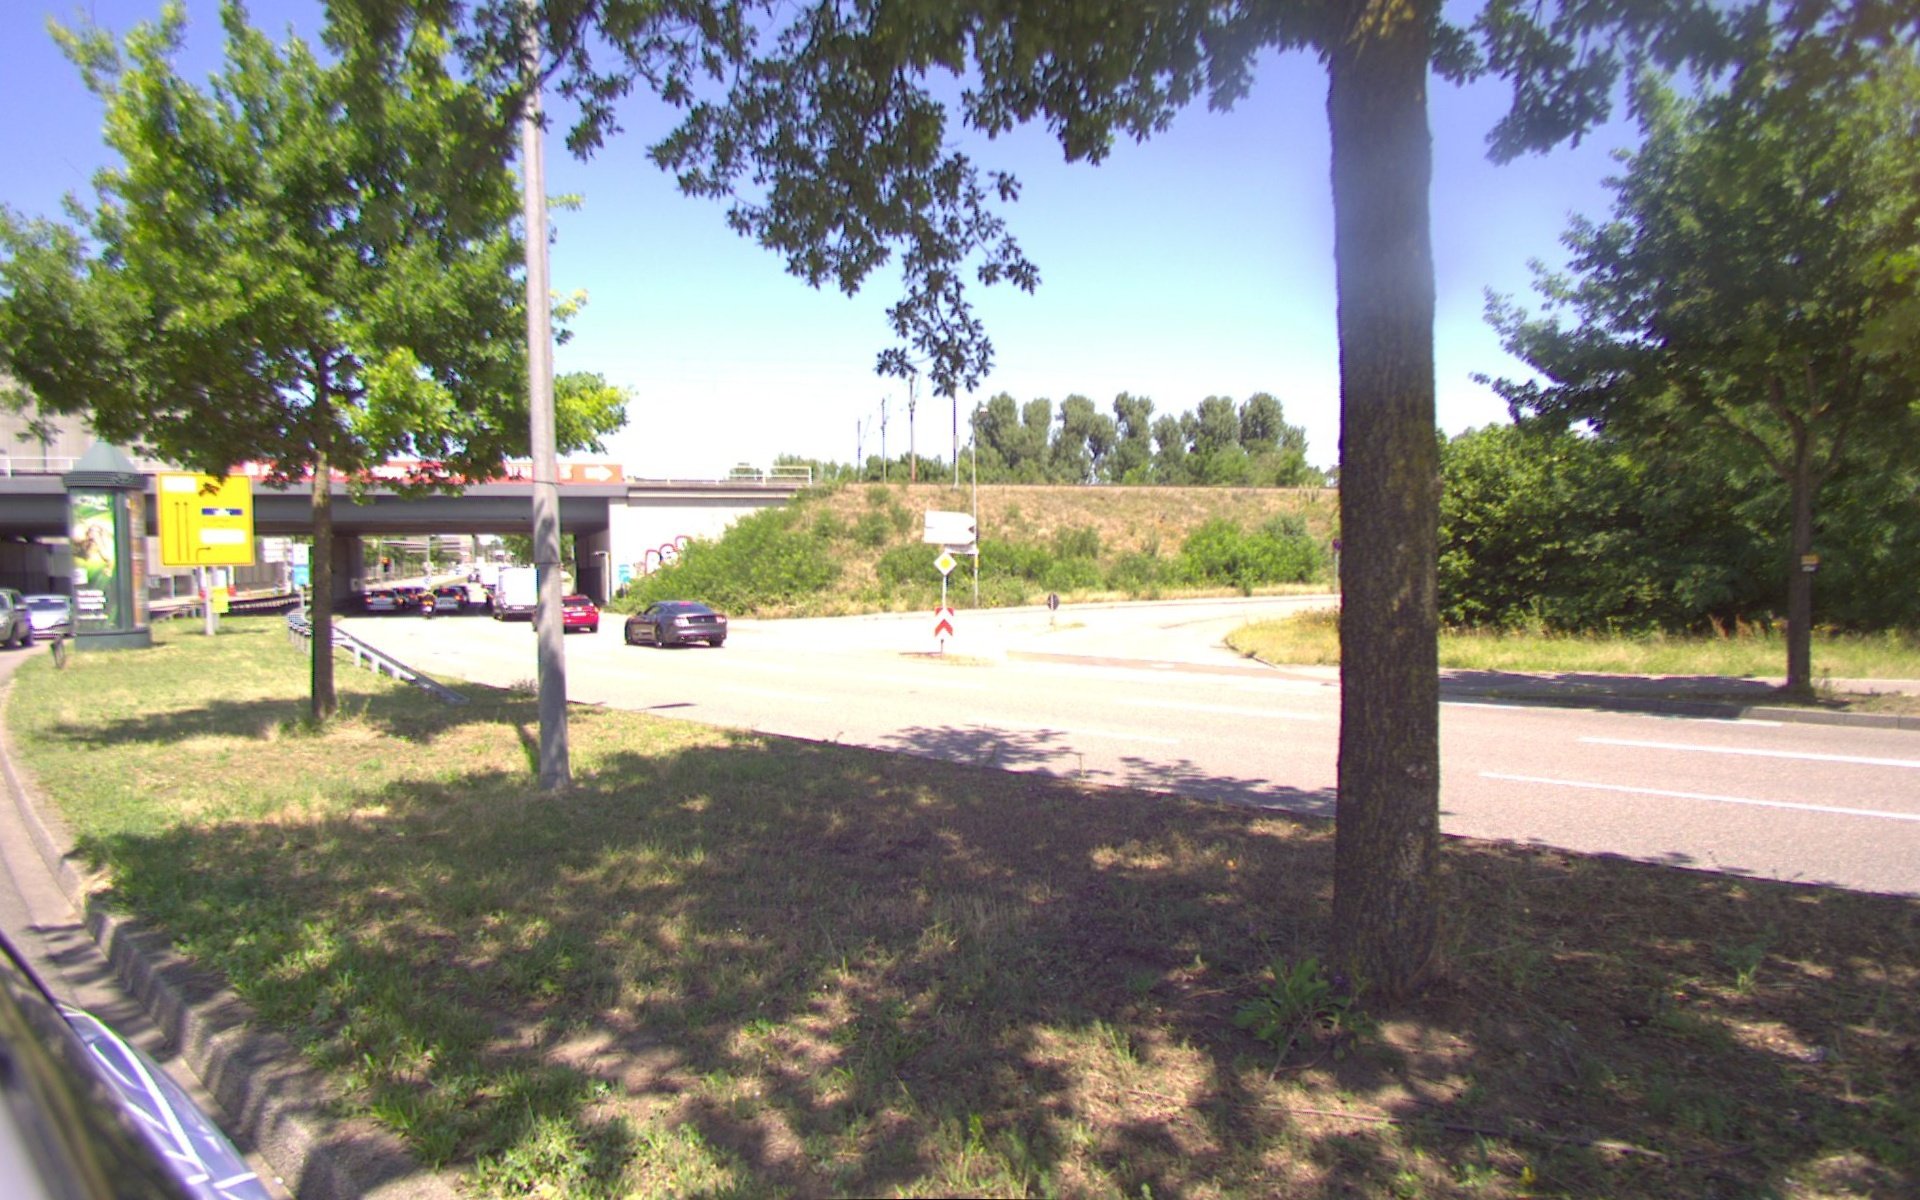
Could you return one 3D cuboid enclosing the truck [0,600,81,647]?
[{"bbox_3d":[-32.232,0.772,35.477,1.703,1.513,4.010,-1,1,-35],"label":"truck"}]

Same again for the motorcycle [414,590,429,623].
[{"bbox_3d":[-27.668,0.316,51.982,0.589,1.691,2.433,-1,1,-29],"label":"motorcycle"}]

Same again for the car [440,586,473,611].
[{"bbox_3d":[-38.296,-0.134,77.065,1.875,1.874,4.013,-1,1,-22],"label":"car"}]

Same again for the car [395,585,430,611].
[{"bbox_3d":[-41.271,-0.163,76.335,1.875,1.874,4.013,-1,1,-22],"label":"car"}]

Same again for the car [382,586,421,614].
[{"bbox_3d":[-39.023,-0.008,70.810,1.875,1.874,4.013,-1,1,-22],"label":"car"}]

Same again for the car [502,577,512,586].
[{"bbox_3d":[-94.256,-3.845,210.376,1.808,2.029,4.013,-1,1,-25],"label":"car"}]

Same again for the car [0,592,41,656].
[{"bbox_3d":[-27.860,0.655,28.785,1.815,1.708,3.711,-1,1,-31],"label":"car"}]

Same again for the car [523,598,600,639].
[{"bbox_3d":[-15.620,0.684,39.538,1.806,1.448,4.537,-1,1,-35],"label":"car"}]

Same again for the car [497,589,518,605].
[{"bbox_3d":[-35.080,-0.251,78.453,1.166,1.257,2.701,-1,1,-18],"label":"car"}]

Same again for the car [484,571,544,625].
[{"bbox_3d":[-22.504,-0.039,50.919,2.065,2.519,5.826,0,-1,-31],"label":"car"}]

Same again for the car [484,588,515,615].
[{"bbox_3d":[-30.000,0.072,65.966,1.747,1.680,4.028,-1,0,-24],"label":"car"}]

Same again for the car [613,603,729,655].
[{"bbox_3d":[-8.709,0.800,30.237,1.786,1.343,4.579,-1,1,-37],"label":"car"}]

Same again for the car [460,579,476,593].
[{"bbox_3d":[-75.746,-2.164,155.883,1.965,2.029,4.013,-1,1,-23],"label":"car"}]

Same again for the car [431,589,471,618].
[{"bbox_3d":[-29.457,0.203,58.613,1.611,1.579,4.086,0,0,-20],"label":"car"}]

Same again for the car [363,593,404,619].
[{"bbox_3d":[-33.190,0.334,58.343,1.611,1.413,4.236,1,0,-24],"label":"car"}]

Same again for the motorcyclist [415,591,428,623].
[{"bbox_3d":[-27.569,0.337,51.832,0.579,1.638,0.564,-1,1,-28],"label":"motorcyclist"}]

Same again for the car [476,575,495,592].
[{"bbox_3d":[-60.956,-2.155,129.976,1.965,2.118,6.404,-1,1,-27],"label":"car"}]

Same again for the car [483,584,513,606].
[{"bbox_3d":[-32.653,-0.378,71.638,1.548,1.514,3.418,-1,1,-18],"label":"car"}]

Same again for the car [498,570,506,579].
[{"bbox_3d":[-107.457,-5.972,237.448,1.808,2.029,4.013,-1,1,-25],"label":"car"}]
